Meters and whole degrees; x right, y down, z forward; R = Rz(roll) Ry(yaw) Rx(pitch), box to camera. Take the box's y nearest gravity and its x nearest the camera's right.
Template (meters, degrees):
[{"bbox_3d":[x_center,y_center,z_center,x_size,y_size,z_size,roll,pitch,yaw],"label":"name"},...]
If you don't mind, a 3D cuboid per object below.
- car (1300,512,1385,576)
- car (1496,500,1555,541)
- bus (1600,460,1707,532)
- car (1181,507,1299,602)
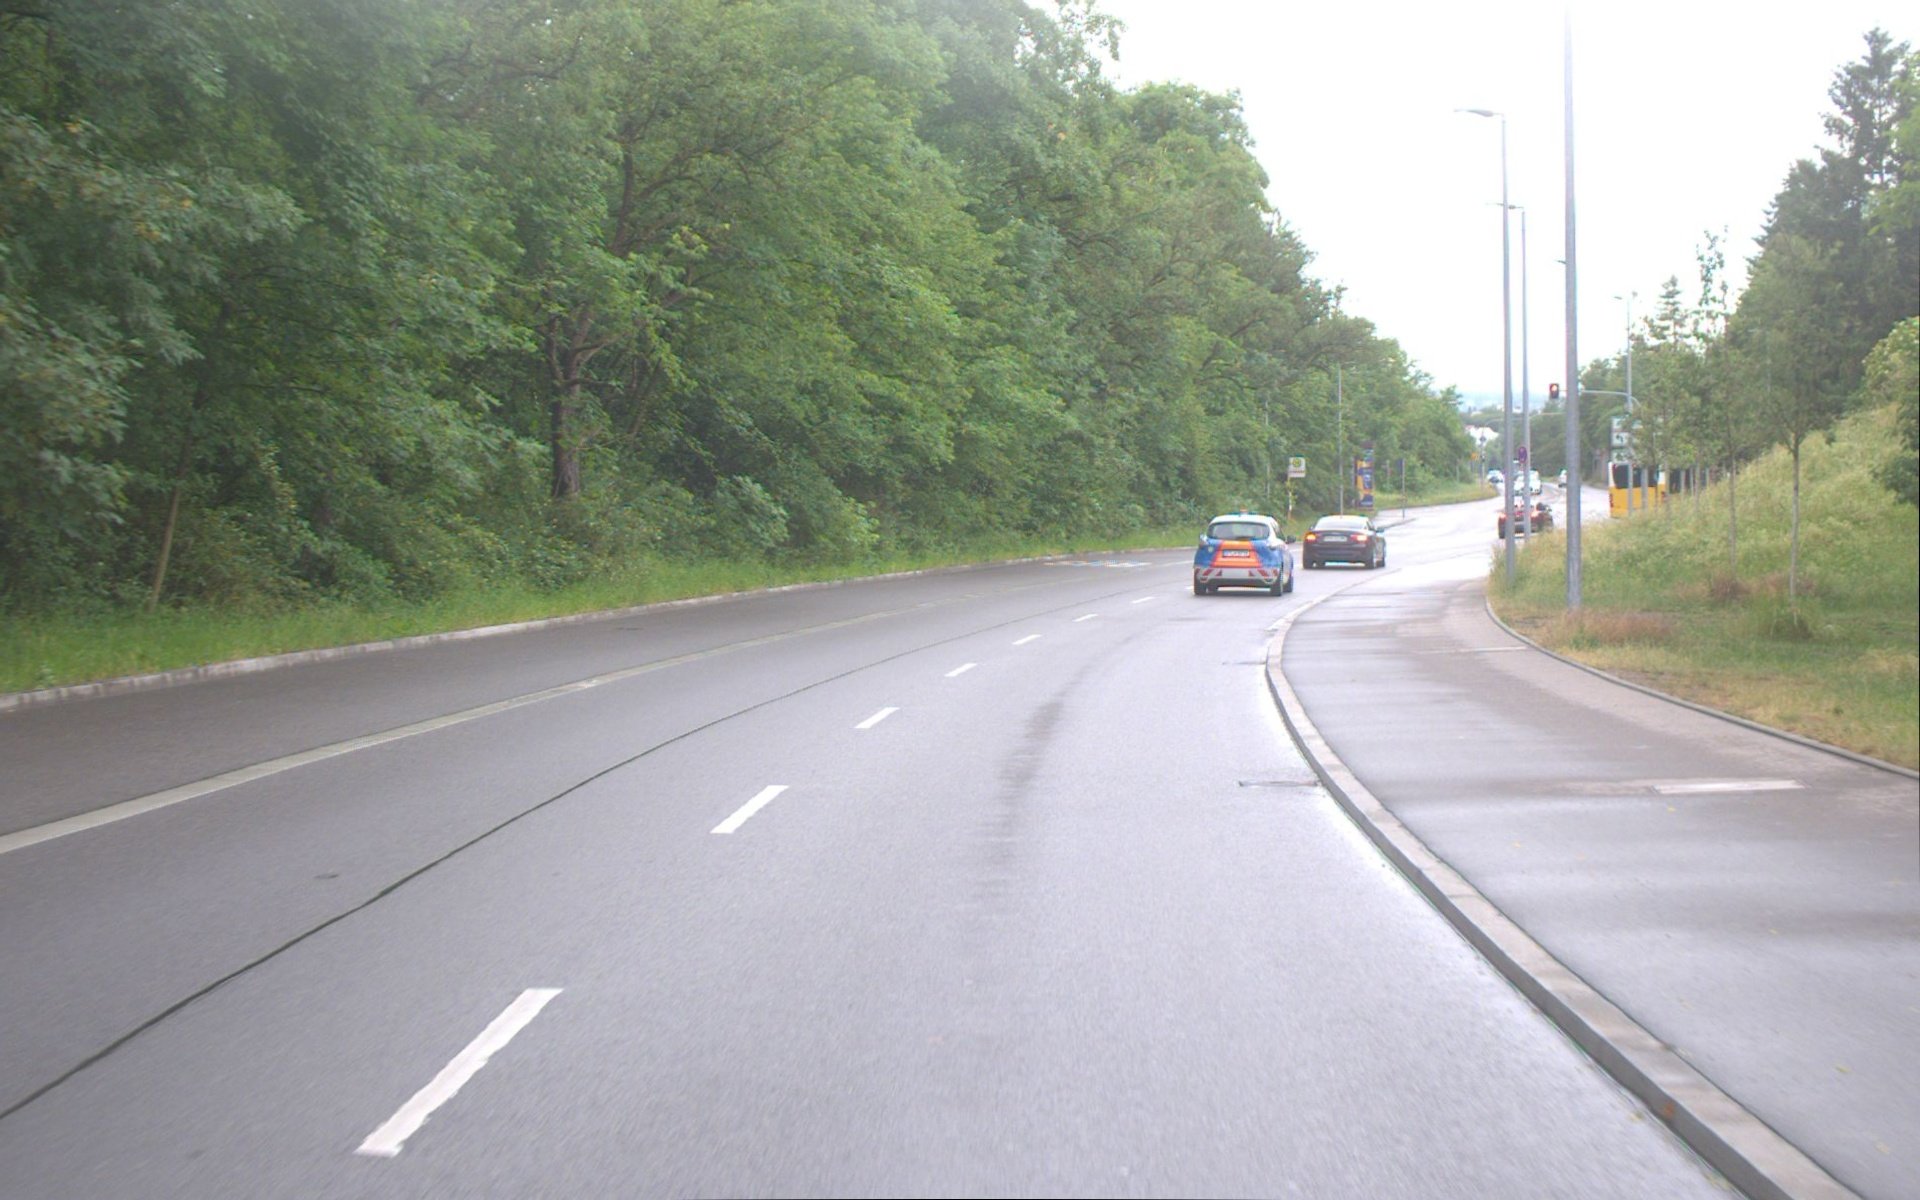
[{"bbox_3d":[10.011,-1.478,89.796,1.928,1.481,3.798,-1,3,10],"label":"car"},{"bbox_3d":[22.374,-3.158,135.929,1.995,1.546,3.998,1,2,13],"label":"car"},{"bbox_3d":[31.472,-4.710,155.770,2.820,3.132,9.169,1,2,23],"label":"bus"},{"bbox_3d":[5.558,-0.922,67.853,1.994,1.683,3.999,-1,3,9],"label":"car"}]
